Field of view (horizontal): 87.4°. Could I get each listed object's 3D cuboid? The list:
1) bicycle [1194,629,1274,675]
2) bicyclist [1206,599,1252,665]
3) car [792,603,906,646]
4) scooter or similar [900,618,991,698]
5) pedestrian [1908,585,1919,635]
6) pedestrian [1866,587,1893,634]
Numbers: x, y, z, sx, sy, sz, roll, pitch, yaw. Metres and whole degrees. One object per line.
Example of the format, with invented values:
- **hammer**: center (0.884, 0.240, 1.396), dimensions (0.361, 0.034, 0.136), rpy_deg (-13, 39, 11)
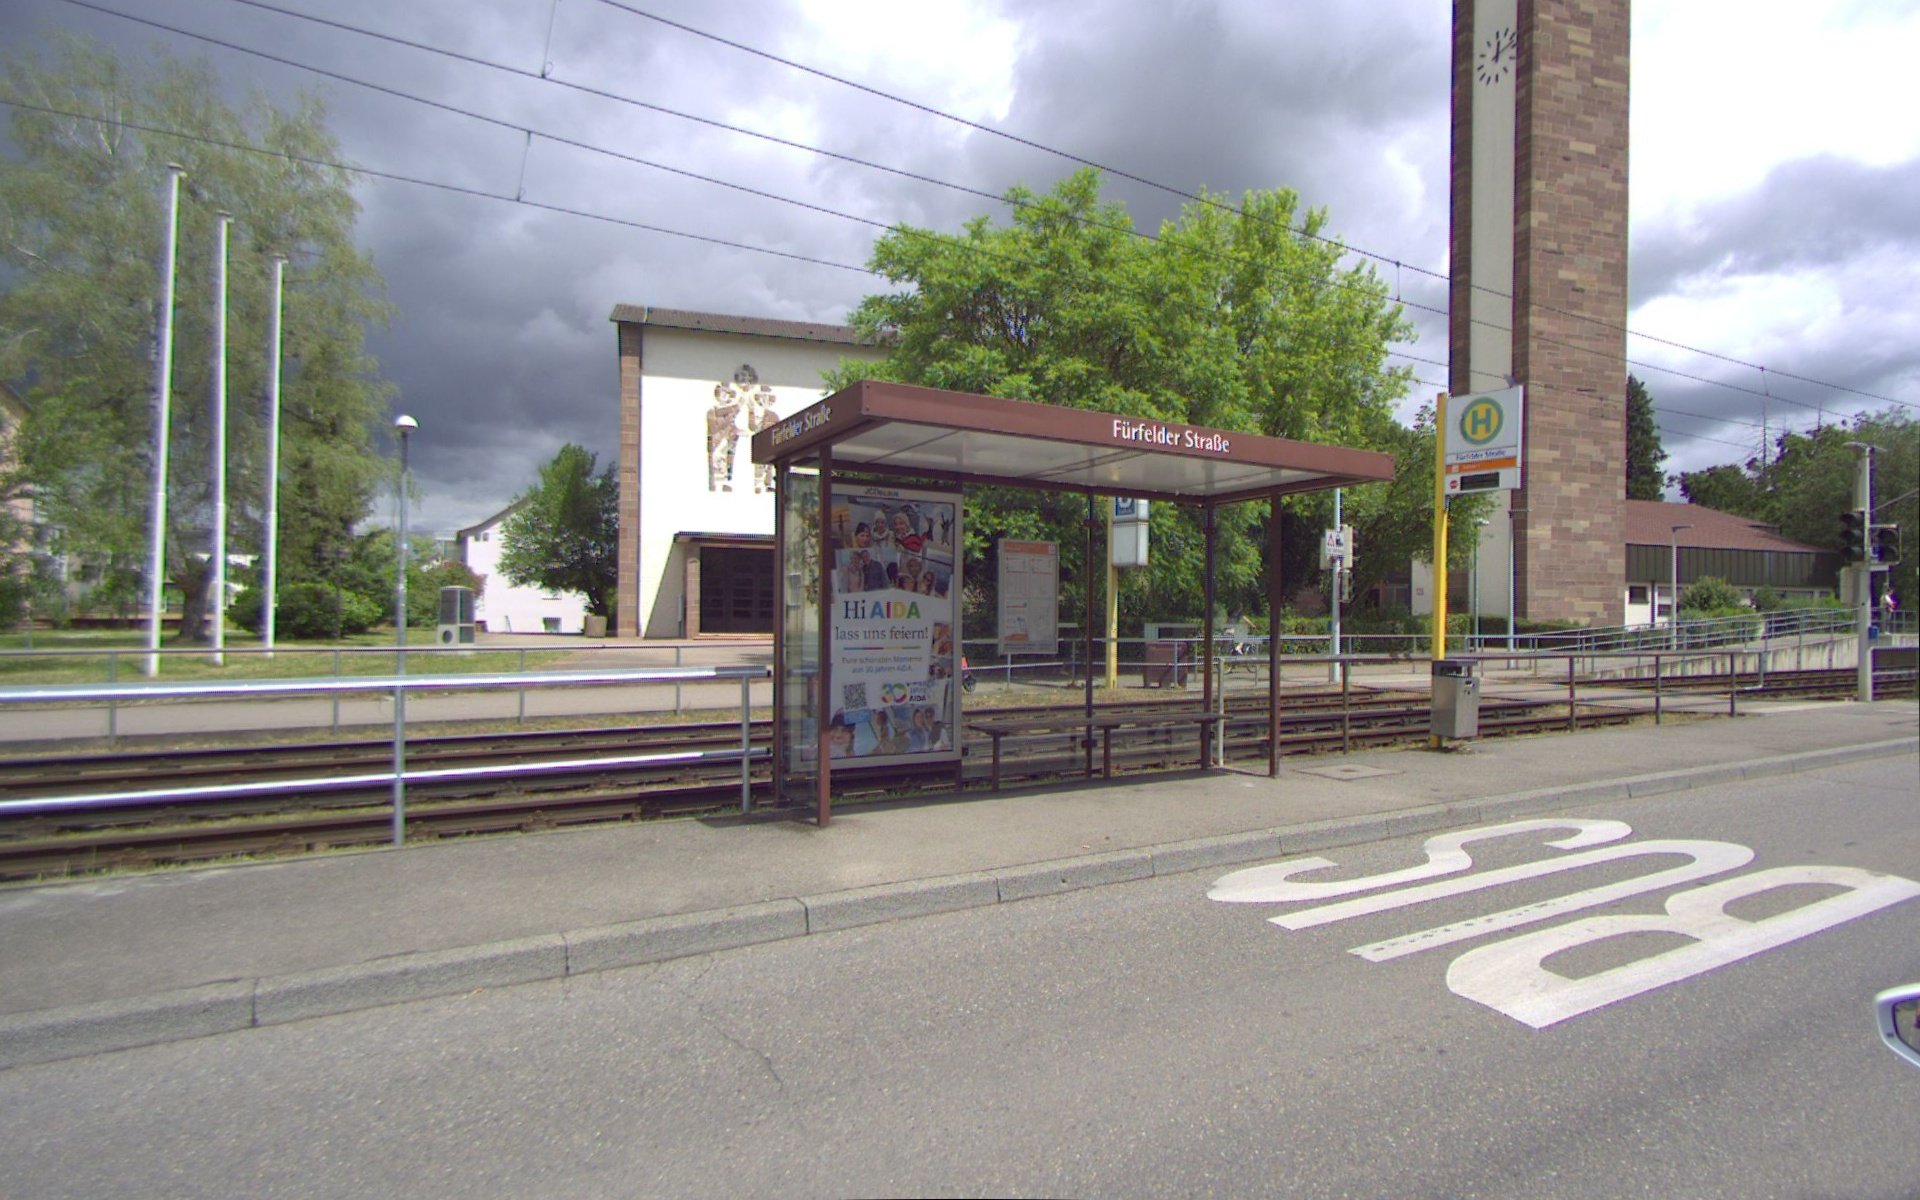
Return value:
- **bicycle**: center (6.314, 1.183, 23.120), dimensions (1.906, 1.007, 0.634), rpy_deg (1, 1, -31)
- **bicyclist**: center (6.167, 0.725, 23.027), dimensions (0.781, 1.448, 0.630), rpy_deg (1, 1, -31)
- **car**: center (-4.557, 1.000, 40.996), dimensions (4.399, 1.595, 1.995), rpy_deg (1, 1, -13)
- **scooter or similar**: center (-0.241, 0.947, 16.850), dimensions (1.384, 1.253, 0.646), rpy_deg (0, 1, -30)
- **pedestrian**: center (39.046, 0.412, 40.698), dimensions (0.724, 2.041, 0.708), rpy_deg (1, 1, -32)
- **pedestrian**: center (35.337, 0.403, 38.619), dimensions (0.569, 1.801, 0.581), rpy_deg (1, 1, -30)
